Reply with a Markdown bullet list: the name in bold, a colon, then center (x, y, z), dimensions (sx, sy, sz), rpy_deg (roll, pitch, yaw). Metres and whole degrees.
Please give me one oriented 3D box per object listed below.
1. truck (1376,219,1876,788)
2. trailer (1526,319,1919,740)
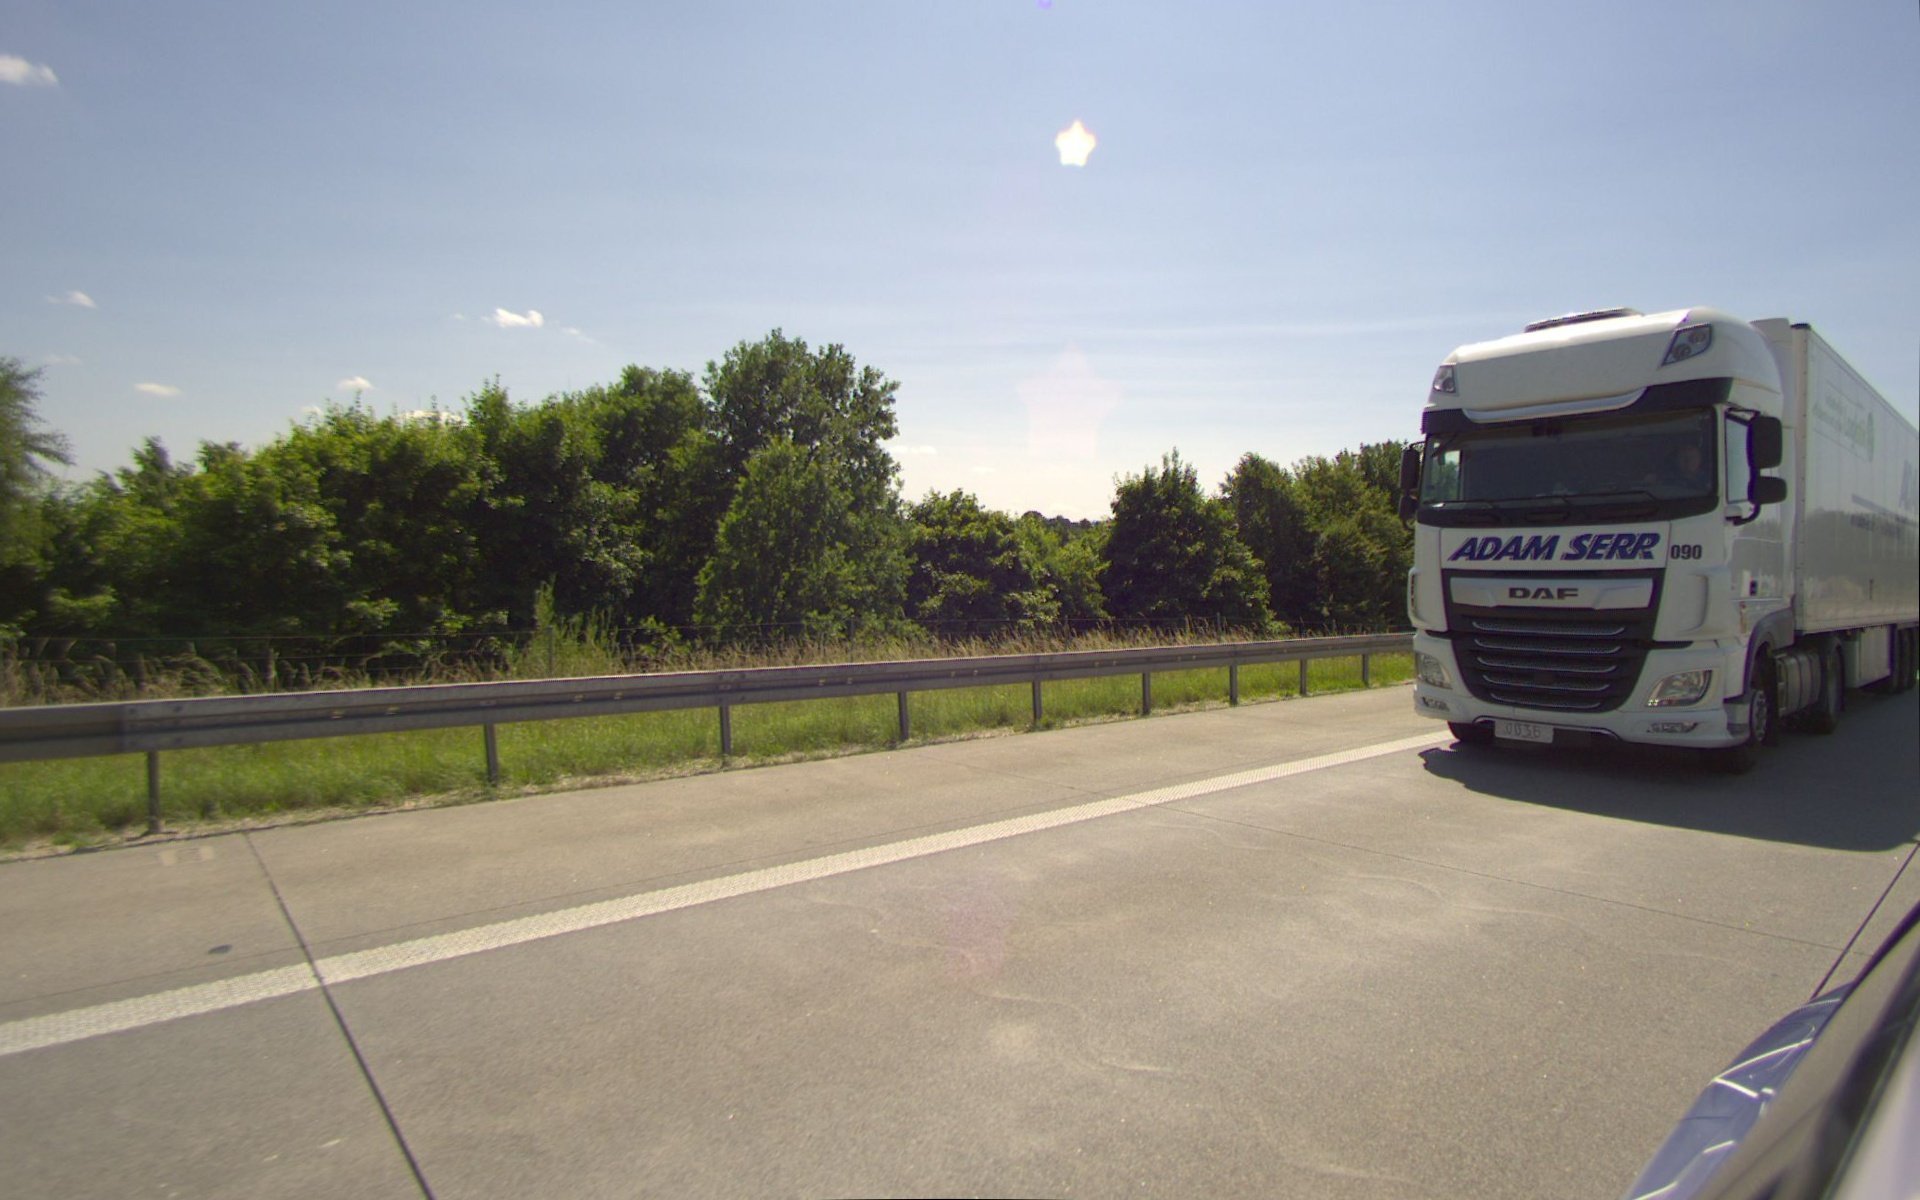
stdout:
- **truck**: center (6.989, -0.747, 10.321), dimensions (5.697, 4.139, 2.817), rpy_deg (0, 1, -41)
- **trailer**: center (12.362, -0.750, 15.050), dimensions (12.492, 4.093, 2.857), rpy_deg (0, 1, -41)
